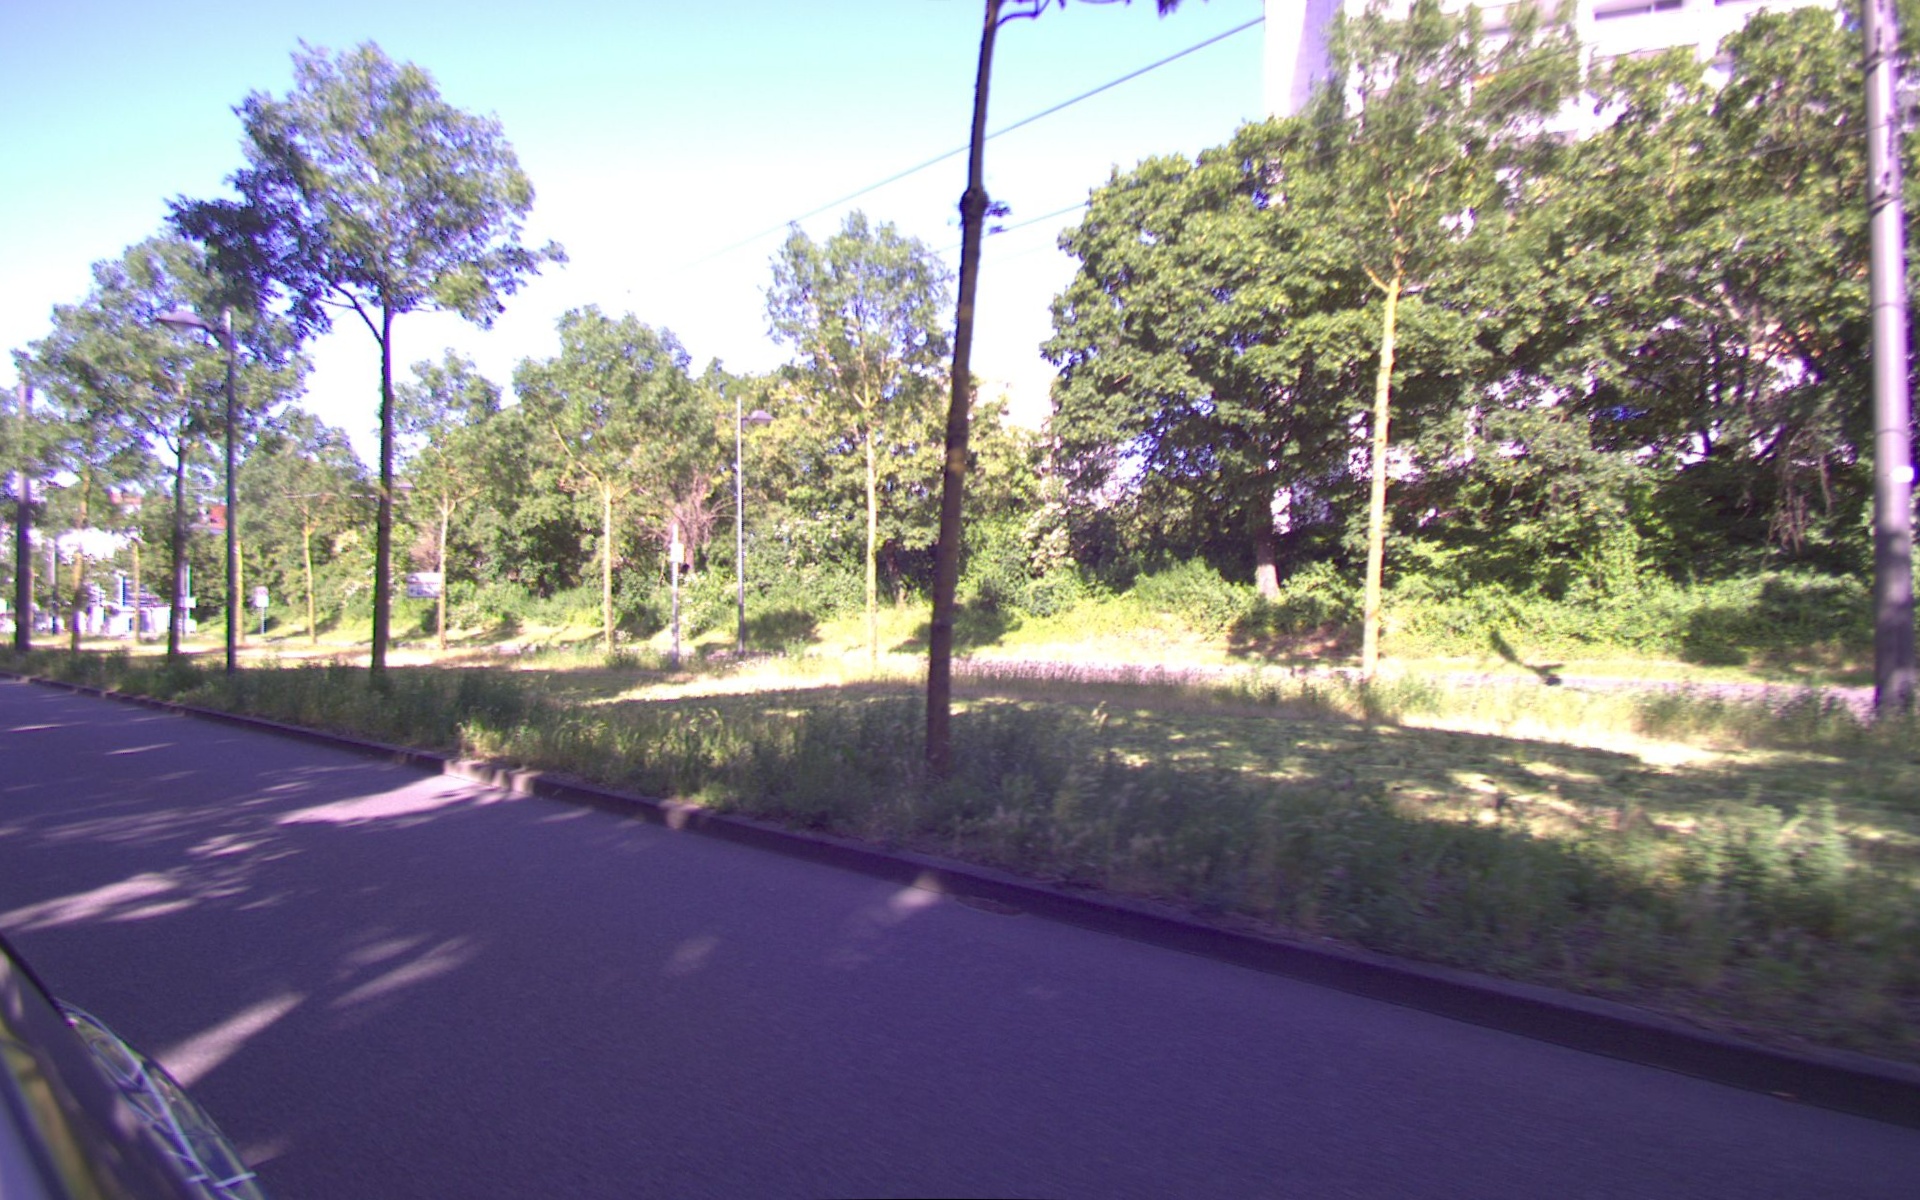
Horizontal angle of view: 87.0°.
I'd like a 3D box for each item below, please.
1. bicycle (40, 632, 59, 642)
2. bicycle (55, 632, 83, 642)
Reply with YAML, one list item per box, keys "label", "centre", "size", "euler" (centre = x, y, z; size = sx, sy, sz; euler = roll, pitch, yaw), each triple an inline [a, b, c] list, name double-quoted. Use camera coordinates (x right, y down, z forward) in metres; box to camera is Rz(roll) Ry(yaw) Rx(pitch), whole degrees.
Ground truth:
- label: "bicycle"
  centre: [-112.562, 4.625, 125.106]
  size: [2.536, 1.222, 0.714]
  euler: [-1, -2, 23]
- label: "bicycle"
  centre: [-110.463, 4.630, 125.499]
  size: [0.715, 1.222, 2.533]
  euler: [-1, -2, 23]
